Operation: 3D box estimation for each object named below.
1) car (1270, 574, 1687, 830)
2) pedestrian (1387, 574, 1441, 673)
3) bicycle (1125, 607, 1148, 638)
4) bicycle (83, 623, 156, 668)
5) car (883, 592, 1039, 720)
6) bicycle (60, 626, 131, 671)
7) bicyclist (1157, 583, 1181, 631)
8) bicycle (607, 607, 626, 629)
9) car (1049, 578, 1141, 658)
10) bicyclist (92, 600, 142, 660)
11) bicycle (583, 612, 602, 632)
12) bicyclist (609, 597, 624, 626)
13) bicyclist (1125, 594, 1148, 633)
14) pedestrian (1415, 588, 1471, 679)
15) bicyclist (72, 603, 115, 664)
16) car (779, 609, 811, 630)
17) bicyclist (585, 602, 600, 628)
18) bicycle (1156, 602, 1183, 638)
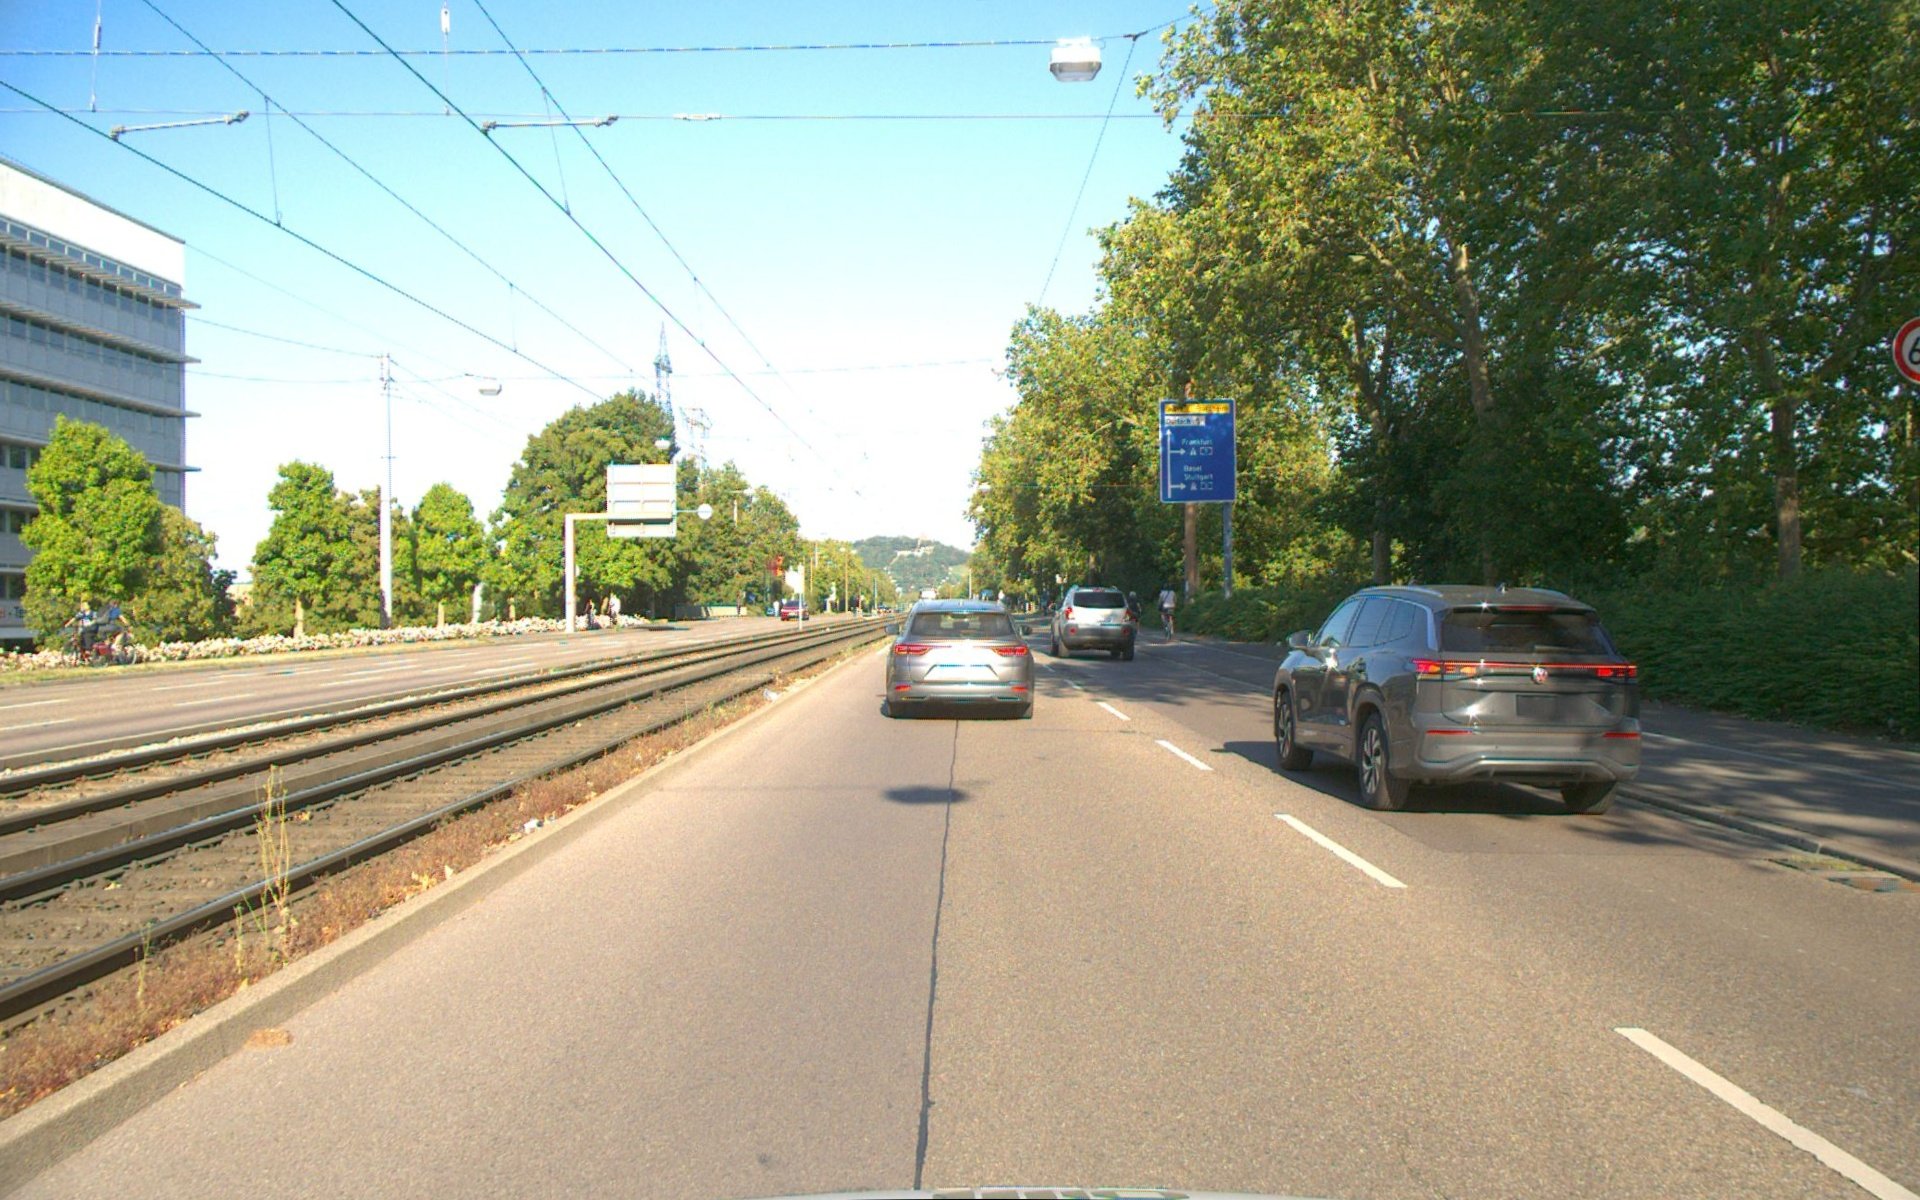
[{"bbox_3d":[3.902,0.675,13.316,1.807,1.690,4.438,1,0,-2],"label":"car"},{"bbox_3d":[8.197,0.414,29.859,0.707,1.737,0.813,-1,0,-1],"label":"pedestrian"},{"bbox_3d":[5.752,0.724,53.958,0.554,0.991,1.788,-1,0,0],"label":"bicycle"},{"bbox_3d":[-22.112,1.192,43.560,0.690,1.092,2.029,2,0,7],"label":"bicycle"},{"bbox_3d":[0.027,0.650,21.734,1.827,1.493,4.666,0,0,0],"label":"car"},{"bbox_3d":[-23.935,1.332,45.829,0.647,1.171,2.023,2,0,9],"label":"bicycle"},{"bbox_3d":[6.801,0.231,53.938,0.671,1.535,0.890,0,0,0],"label":"bicyclist"},{"bbox_3d":[-19.928,1.022,95.914,0.590,1.240,1.749,2,0,3],"label":"bicycle"},{"bbox_3d":[3.304,0.422,41.064,1.845,1.827,3.999,2,0,-1],"label":"car"},{"bbox_3d":[-22.117,0.786,43.399,0.690,1.539,0.971,2,0,6],"label":"bicyclist"},{"bbox_3d":[-20.118,1.202,90.474,0.612,1.077,1.703,2,0,0],"label":"bicycle"},{"bbox_3d":[-19.912,0.656,95.946,0.590,1.688,0.963,2,0,3],"label":"bicyclist"},{"bbox_3d":[5.747,0.423,53.958,0.628,1.247,0.890,-1,0,0],"label":"bicyclist"},{"bbox_3d":[8.201,0.562,28.118,0.708,1.506,0.722,-1,0,-1],"label":"pedestrian"},{"bbox_3d":[-23.942,0.906,45.703,0.647,1.652,0.802,2,0,9],"label":"bicyclist"},{"bbox_3d":[-12.760,1.470,128.316,1.998,1.529,4.887,-1,0,0],"label":"car"},{"bbox_3d":[-20.105,0.810,90.457,0.612,1.398,0.880,2,0,0],"label":"bicyclist"},{"bbox_3d":[6.817,0.629,53.917,0.609,1.140,1.813,-1,0,0],"label":"bicycle"}]
